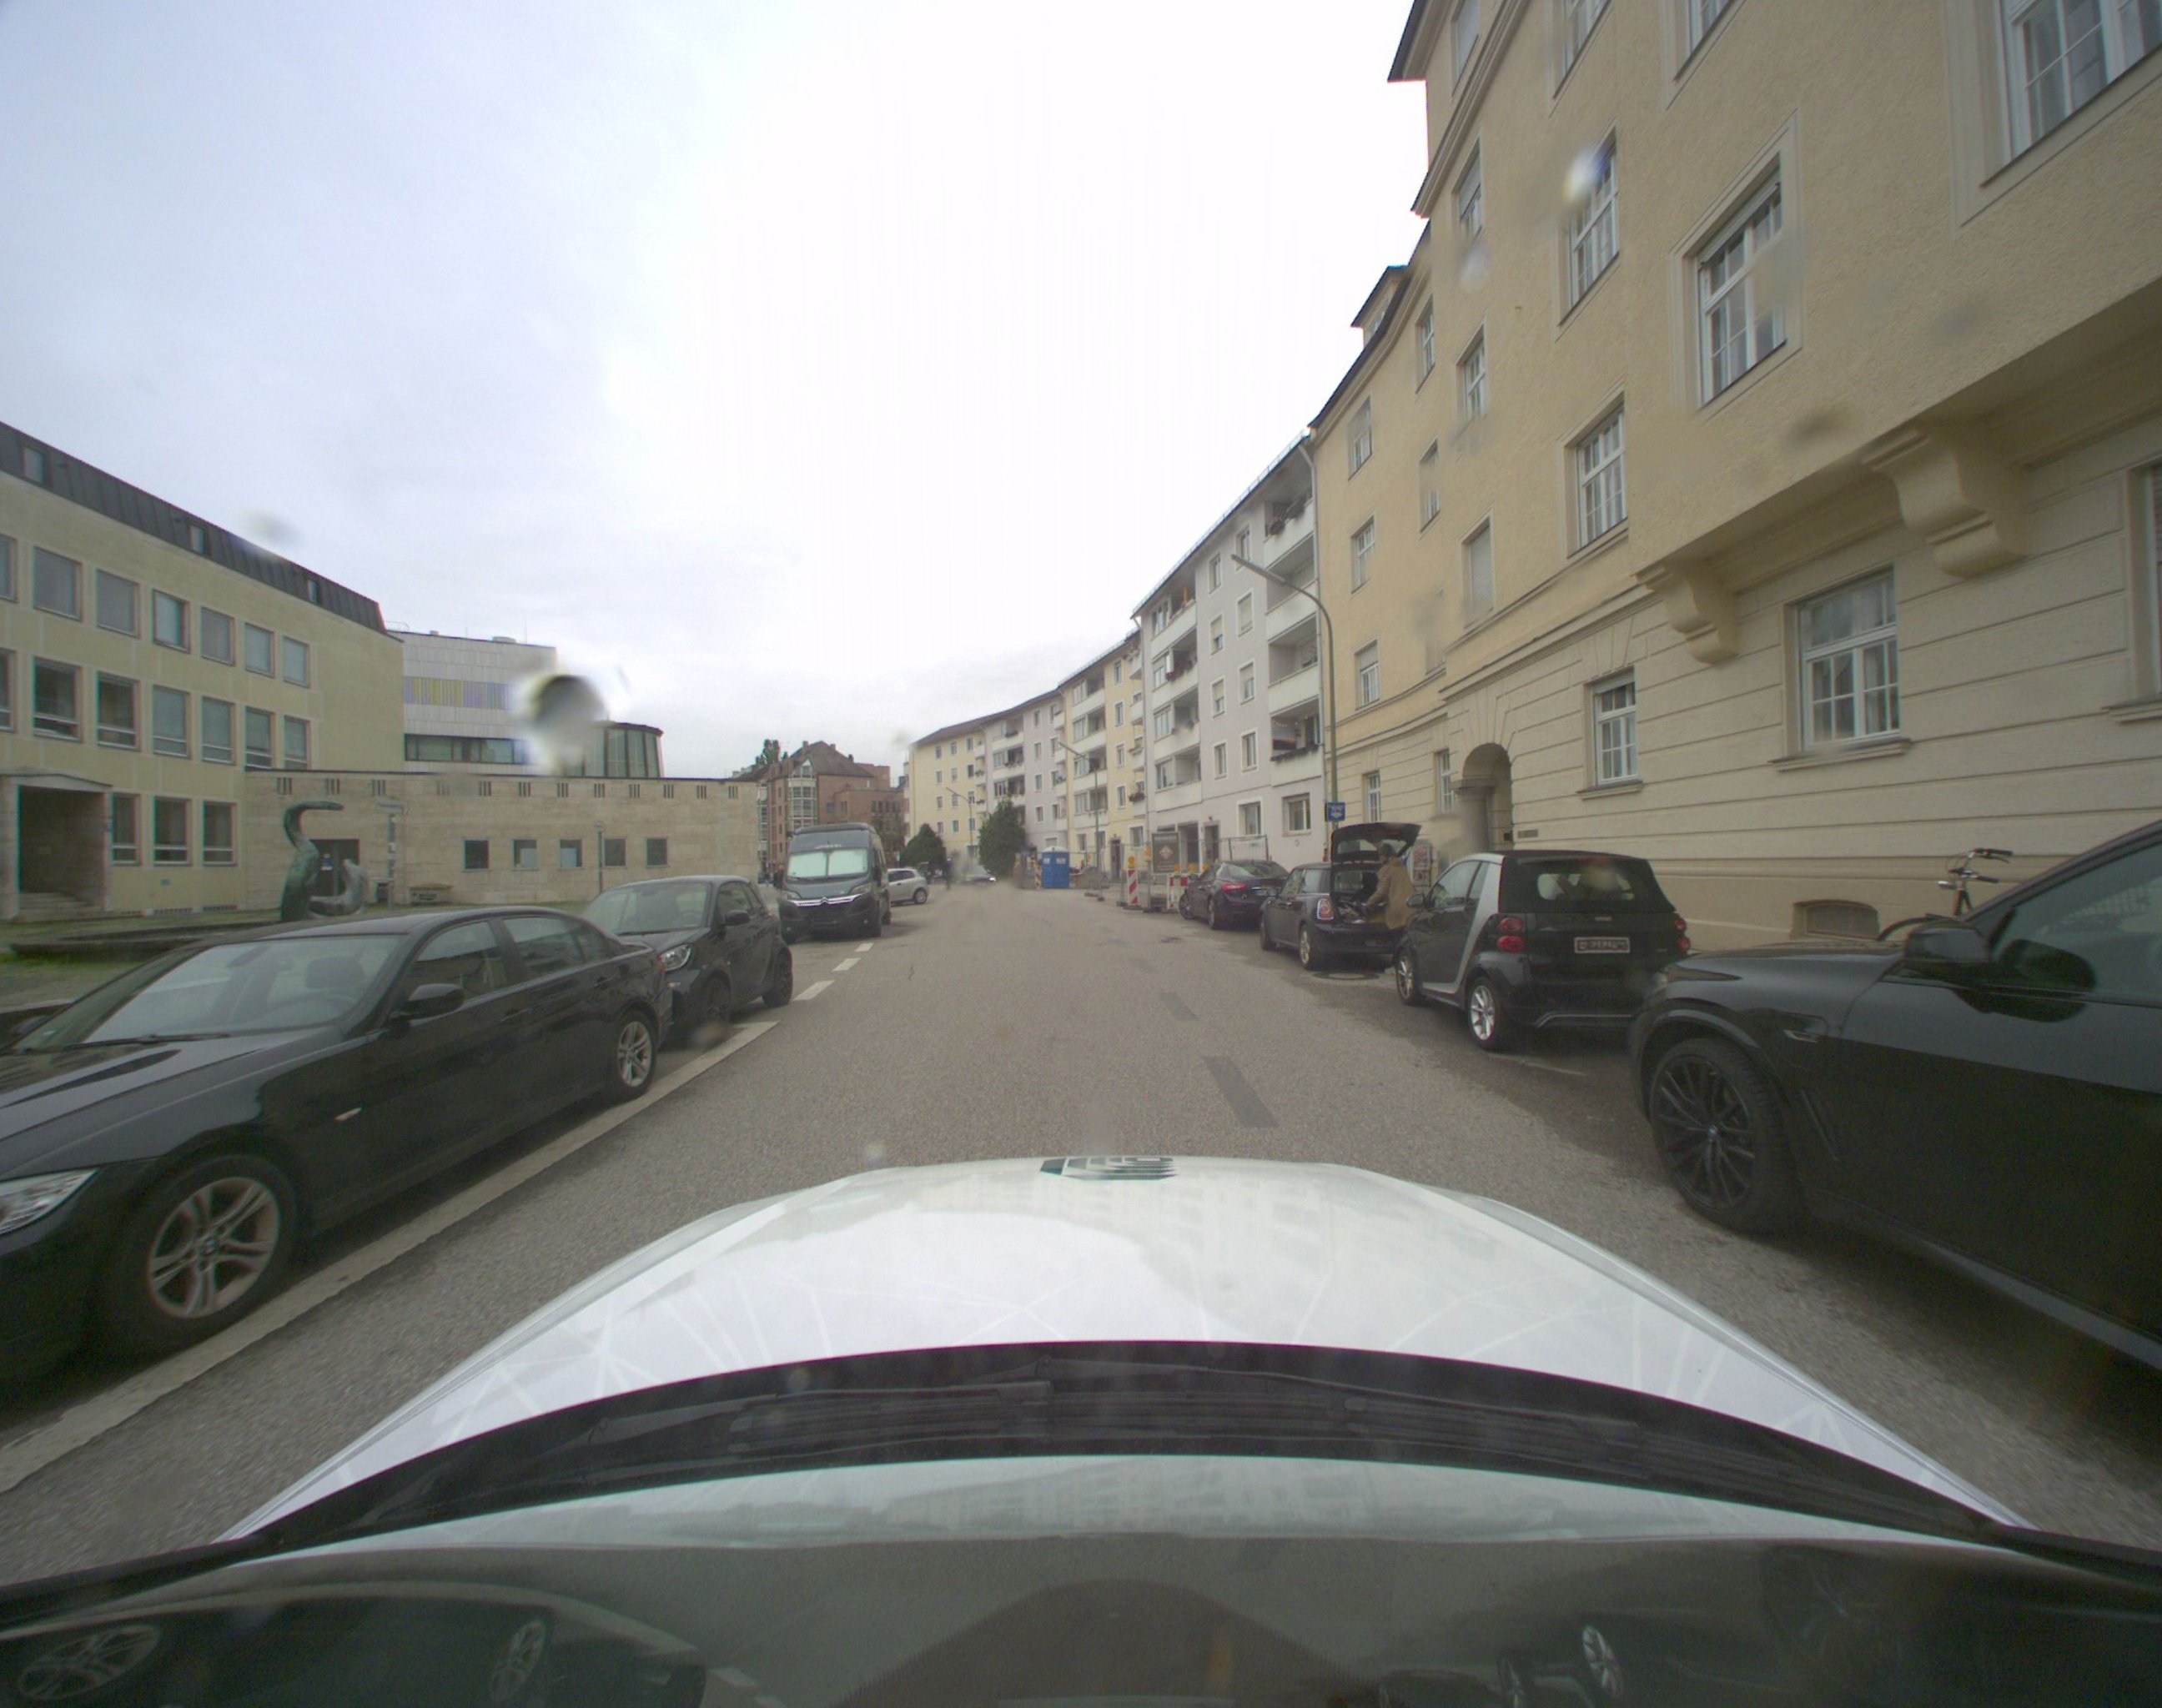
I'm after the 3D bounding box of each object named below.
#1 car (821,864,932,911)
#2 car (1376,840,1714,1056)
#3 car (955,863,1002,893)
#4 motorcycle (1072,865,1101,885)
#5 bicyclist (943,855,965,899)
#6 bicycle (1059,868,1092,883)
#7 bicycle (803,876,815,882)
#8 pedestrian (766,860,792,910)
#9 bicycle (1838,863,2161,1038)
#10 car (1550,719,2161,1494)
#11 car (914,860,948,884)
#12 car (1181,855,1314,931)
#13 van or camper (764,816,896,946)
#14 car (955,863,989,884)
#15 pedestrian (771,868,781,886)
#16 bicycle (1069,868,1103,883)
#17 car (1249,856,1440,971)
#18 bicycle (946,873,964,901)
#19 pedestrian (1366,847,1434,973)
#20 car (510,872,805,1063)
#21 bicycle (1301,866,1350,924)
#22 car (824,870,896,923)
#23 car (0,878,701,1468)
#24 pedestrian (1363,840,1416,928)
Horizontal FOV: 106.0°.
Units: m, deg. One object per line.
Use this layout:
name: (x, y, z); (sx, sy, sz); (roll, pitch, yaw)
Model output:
car: (-7.910, 1.291, 31.797); (1.692, 1.507, 3.833); (-4, 0, 43)
car: (3.902, 0.687, 7.419); (1.507, 1.555, 3.022); (-1, 0, 4)
car: (-5.520, 1.260, 43.194); (1.922, 1.412, 4.682); (-4, -1, -13)
motorcycle: (0.348, 1.302, 50.851); (0.935, 1.221, 2.489); (-1, -1, -21)
bicyclist: (-5.347, 0.953, 34.240); (0.745, 1.771, 0.812); (-4, 0, -11)
bicycle: (-0.403, 1.573, 60.209); (2.241, 1.069, 0.913); (-1, -1, -22)
bicycle: (-39.841, 3.644, 119.193); (1.110, 0.854, 1.707); (0, -1, -40)
pedestrian: (-11.330, 1.151, 30.569); (0.846, 1.866, 0.708); (-1, -1, -26)
bicycle: (6.968, 0.620, 6.181); (0.499, 1.049, 2.140); (-4, -1, 4)
car: (3.504, 0.558, 1.868); (2.161, 1.739, 5.027); (-1, 0, 3)
car: (-13.479, 1.647, 72.904); (1.792, 1.977, 3.684); (-3, 0, -30)
car: (3.587, 0.773, 18.481); (1.903, 1.477, 4.943); (-1, 0, -1)
van or camper: (-5.720, 0.528, 19.369); (2.298, 2.581, 6.063); (0, 0, -11)
car: (-8.744, 1.520, 65.114); (1.838, 1.574, 3.971); (-1, -1, -22)
pedestrian: (-27.801, 2.075, 74.241); (0.763, 1.630, 0.915); (-1, -1, -17)
bicycle: (0.357, 1.553, 58.879); (2.241, 1.069, 0.913); (-1, -1, -22)
car: (3.679, 0.744, 12.038); (1.626, 1.417, 3.678); (-1, 0, 0)
bicycle: (-5.319, 1.360, 34.259); (0.586, 1.069, 1.929); (-4, 0, -11)
pedestrian: (4.011, 0.690, 10.280); (0.626, 1.528, 0.578); (-1, -1, 1)
car: (-4.083, 0.989, 8.364); (1.515, 1.465, 2.884); (-4, 0, -2)
bicycle: (5.572, 0.910, 18.659); (0.634, 1.258, 1.671); (-1, -1, 2)
car: (-7.197, 1.314, 26.387); (1.998, 1.451, 4.190); (-4, 0, -17)
car: (-3.879, 0.971, 4.229); (1.769, 1.465, 4.462); (-4, 0, -2)
pedestrian: (6.271, 0.593, 16.582); (0.615, 1.690, 0.920); (-5, -1, 2)
